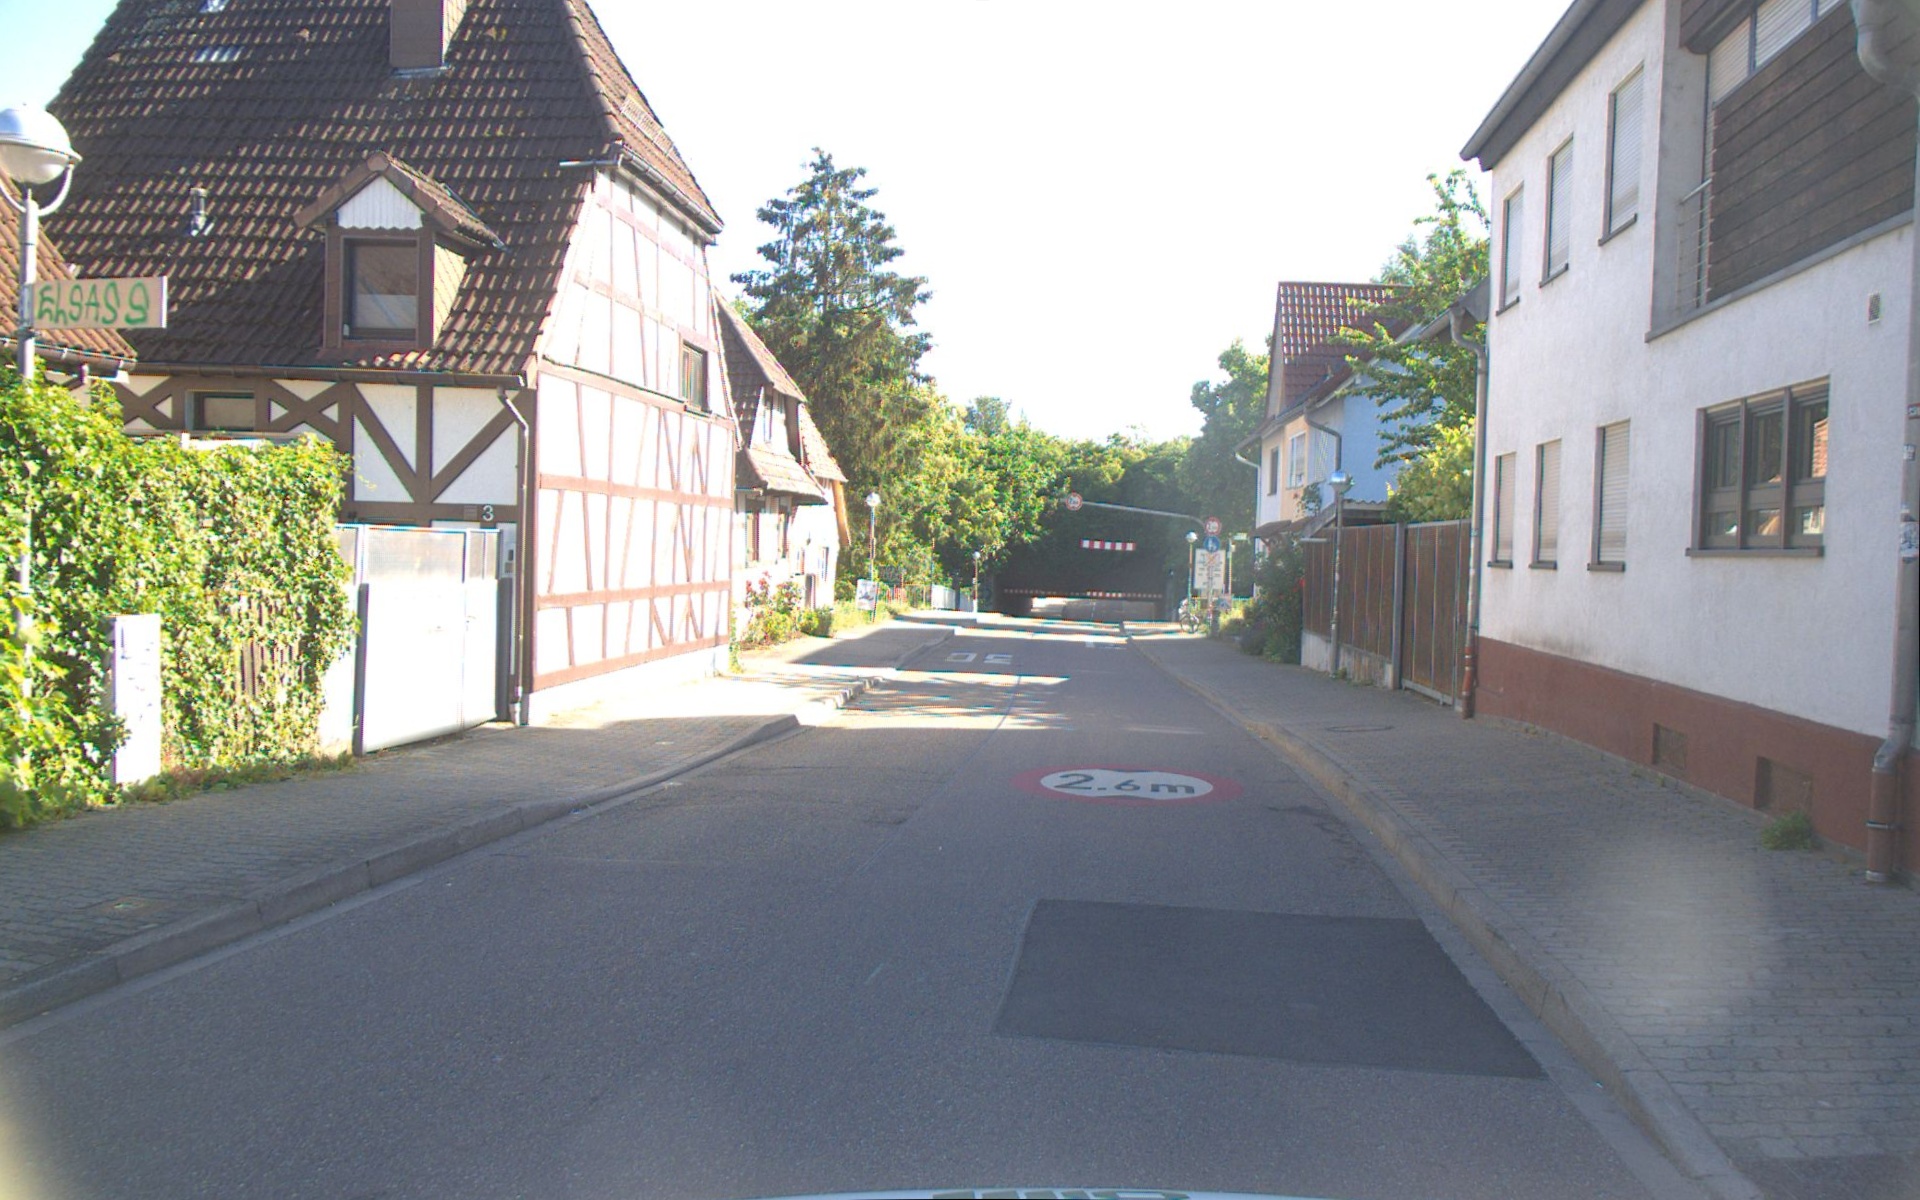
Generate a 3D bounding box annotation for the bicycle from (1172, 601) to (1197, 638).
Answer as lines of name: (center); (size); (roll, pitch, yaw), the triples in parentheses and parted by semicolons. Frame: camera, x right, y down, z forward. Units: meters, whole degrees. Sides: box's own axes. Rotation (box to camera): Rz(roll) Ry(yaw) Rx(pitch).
bicycle: (7.548, 0.642, 55.621); (0.674, 1.177, 1.540); (-2, 0, 3)
